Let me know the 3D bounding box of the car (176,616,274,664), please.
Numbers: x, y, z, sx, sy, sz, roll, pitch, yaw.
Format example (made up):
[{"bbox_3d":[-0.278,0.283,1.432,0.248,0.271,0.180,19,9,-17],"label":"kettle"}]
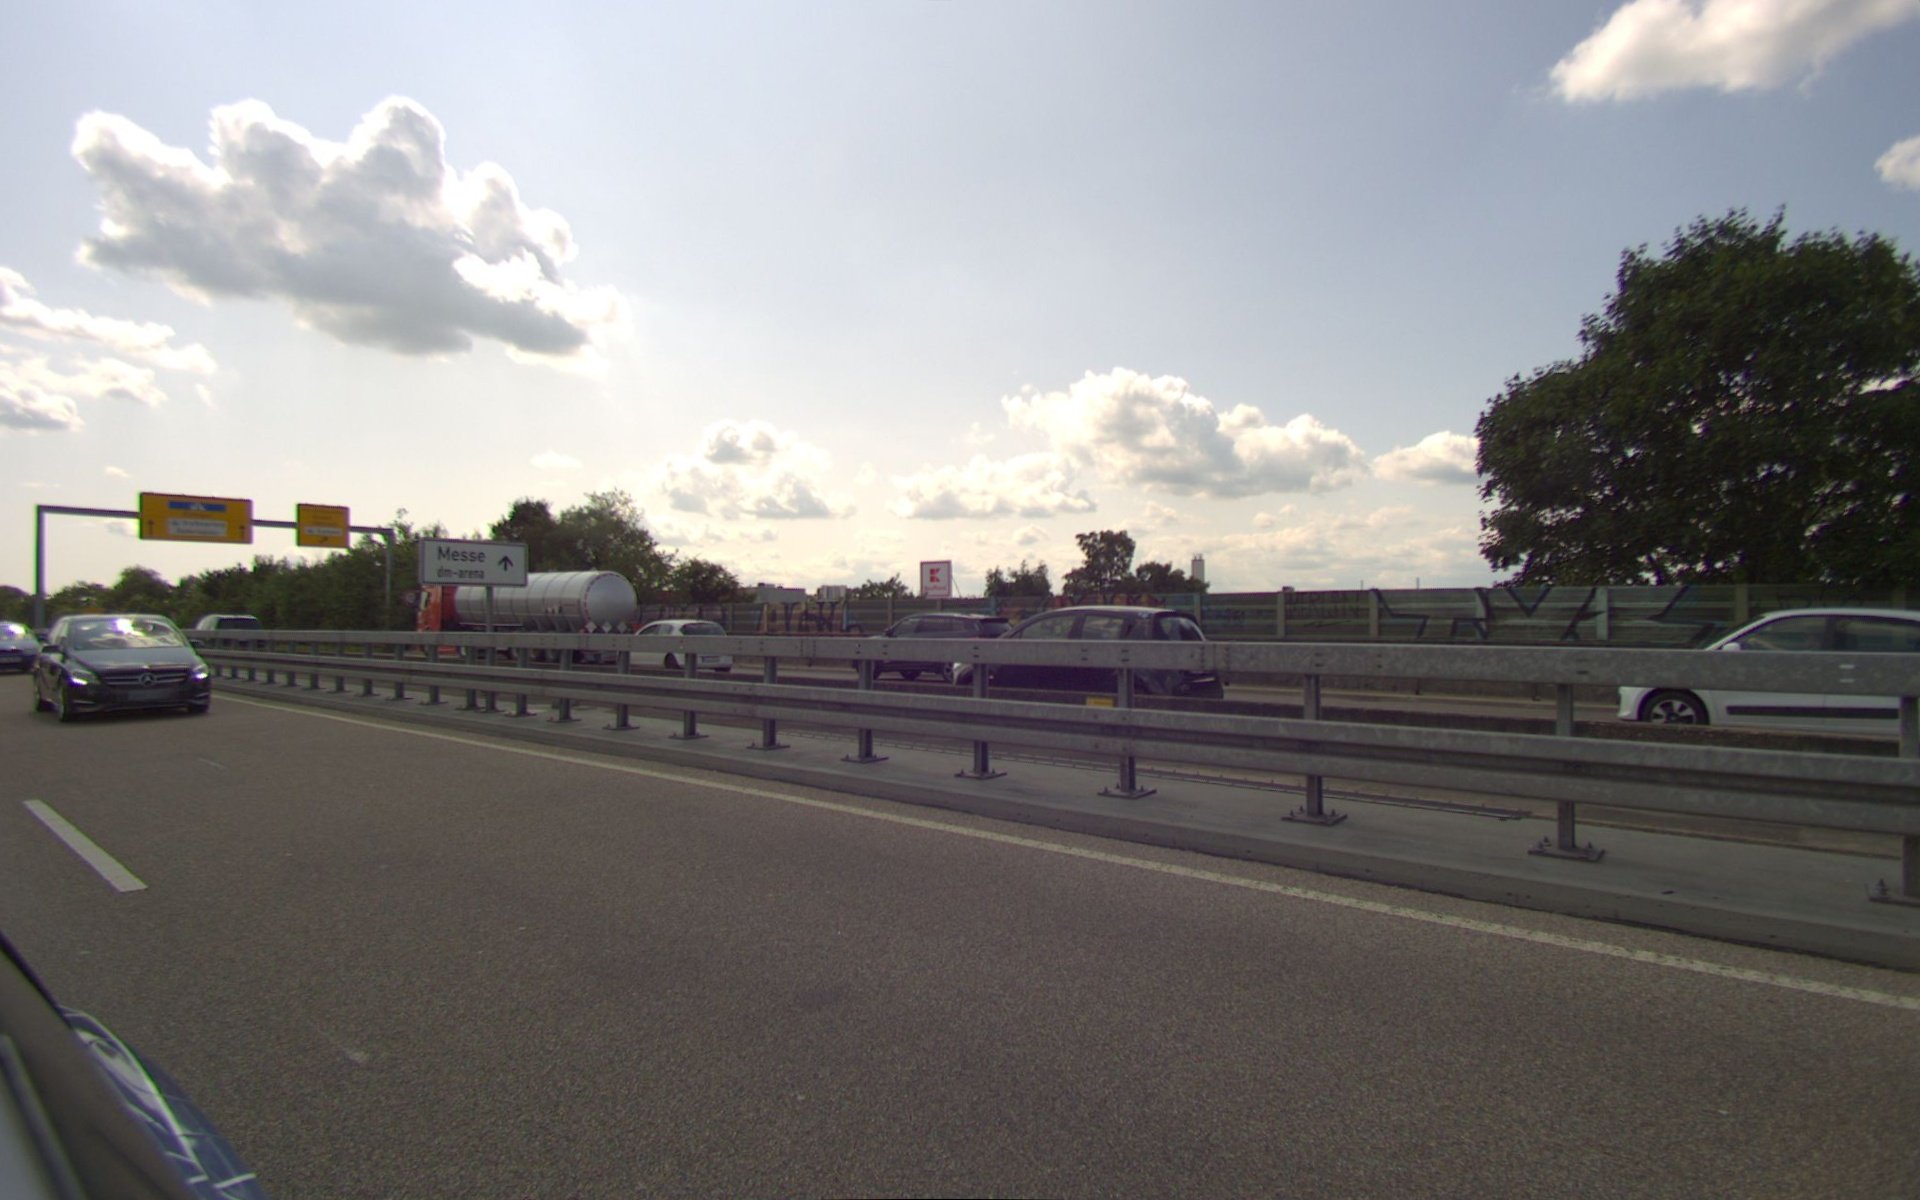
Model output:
[{"bbox_3d":[-29.334,1.547,40.359,4.590,1.763,1.975,-1,0,38],"label":"car"}]

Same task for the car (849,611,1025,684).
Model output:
[{"bbox_3d":[-0.626,1.116,24.638,4.279,1.632,1.697,-1,-3,41],"label":"car"}]

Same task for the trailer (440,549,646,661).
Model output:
[{"bbox_3d":[-15.986,0.208,38.137,11.026,3.697,2.656,-1,0,42],"label":"trailer"}]

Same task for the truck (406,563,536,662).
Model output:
[{"bbox_3d":[-20.435,0.486,42.140,6.230,3.810,2.620,-1,0,41],"label":"truck"}]

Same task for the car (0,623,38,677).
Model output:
[{"bbox_3d":[-27.282,1.385,28.467,3.770,1.422,1.604,-1,0,42],"label":"car"}]

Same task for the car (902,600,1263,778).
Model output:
[{"bbox_3d":[1.443,0.970,12.984,4.239,1.871,1.972,-1,0,43],"label":"car"}]

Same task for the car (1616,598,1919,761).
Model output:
[{"bbox_3d":[9.685,0.796,11.176,3.884,1.586,1.904,-1,0,40],"label":"car"}]

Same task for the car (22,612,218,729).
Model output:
[{"bbox_3d":[-13.261,0.992,15.875,4.591,1.539,1.693,-1,0,42],"label":"car"}]

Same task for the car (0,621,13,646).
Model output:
[{"bbox_3d":[-87.321,3.005,91.337,5.225,2.004,2.059,2,1,40],"label":"car"}]

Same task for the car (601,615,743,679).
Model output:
[{"bbox_3d":[-7.684,1.191,26.854,3.957,1.520,1.764,-1,0,41],"label":"car"}]
